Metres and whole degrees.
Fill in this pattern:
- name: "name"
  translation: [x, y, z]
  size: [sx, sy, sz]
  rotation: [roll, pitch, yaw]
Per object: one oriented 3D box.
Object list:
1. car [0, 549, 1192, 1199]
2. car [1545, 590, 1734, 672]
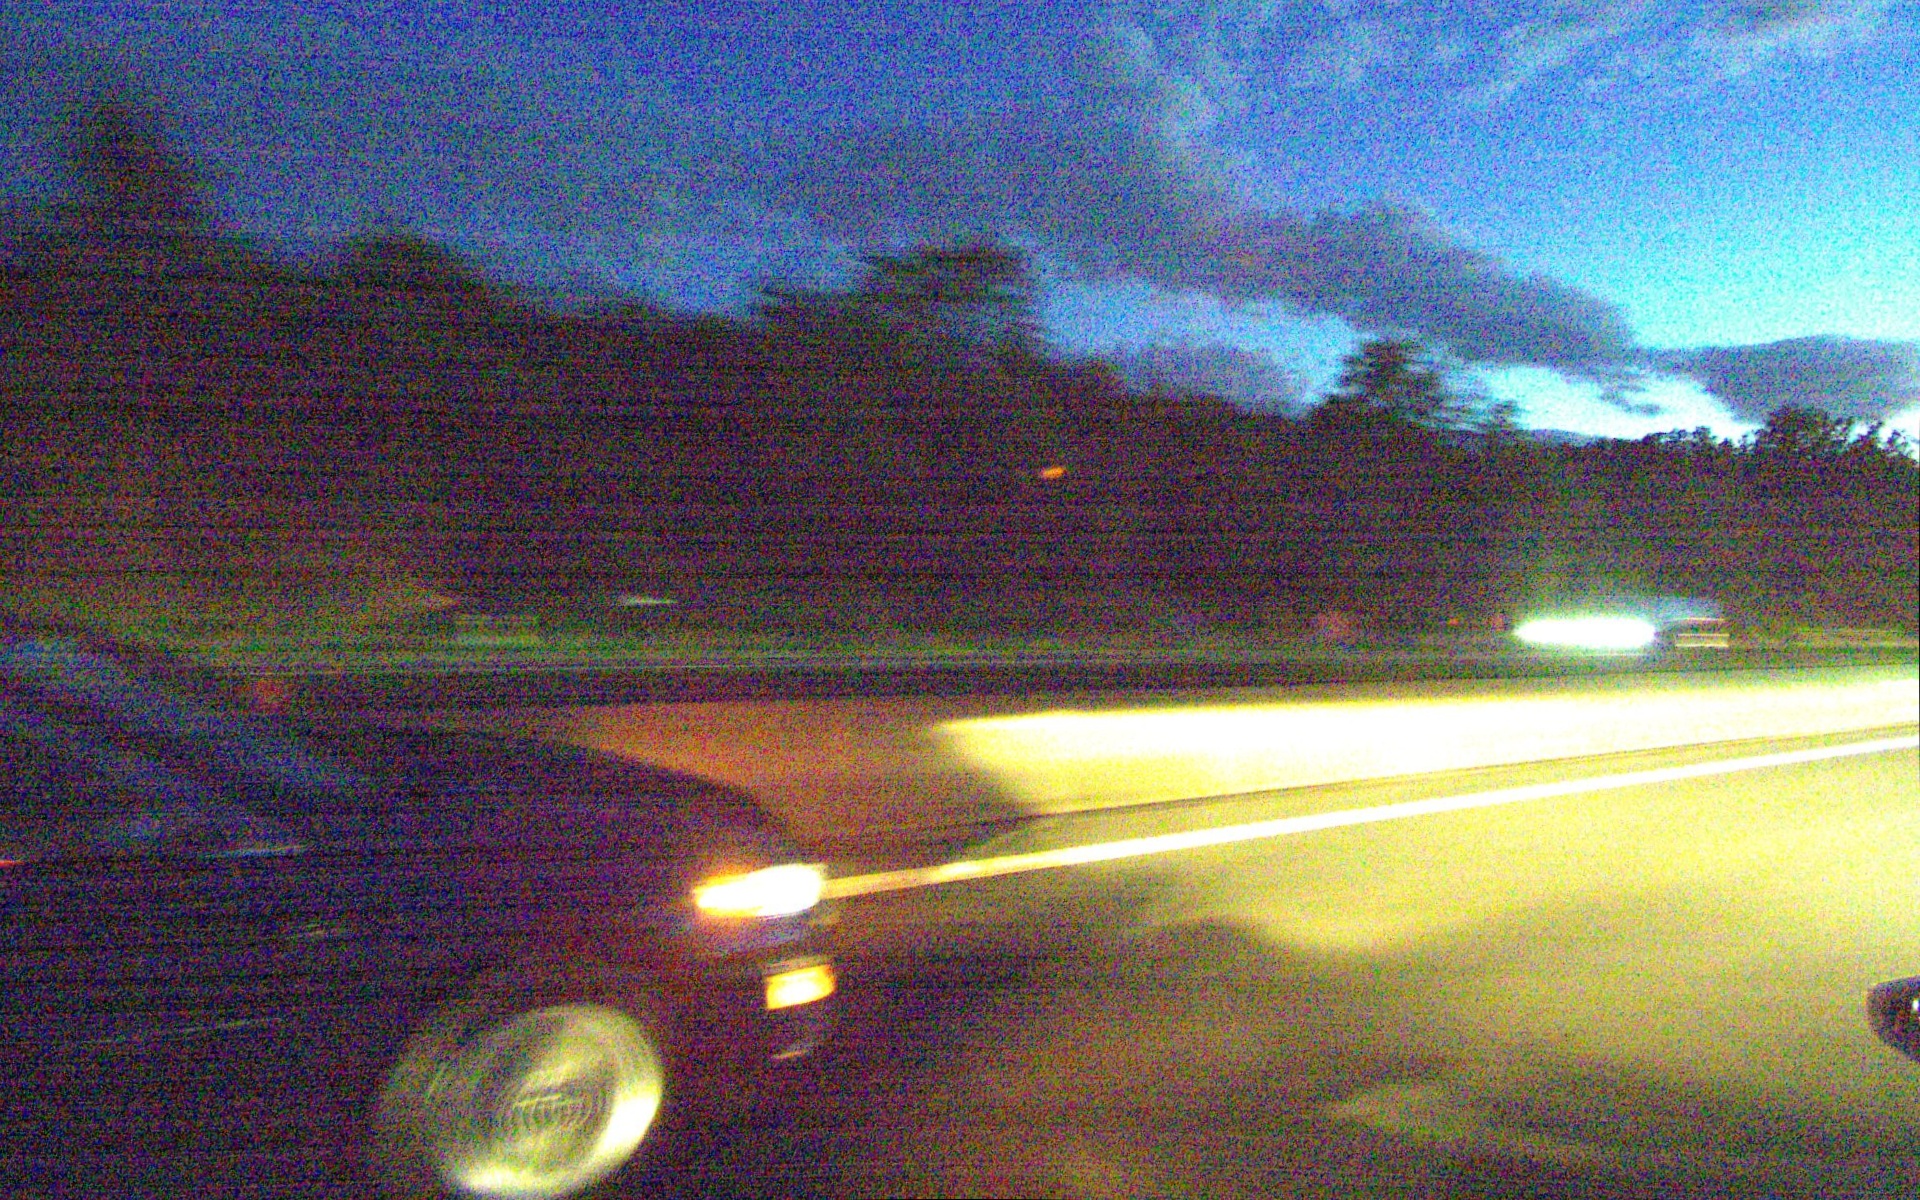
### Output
- name: "car"
  translation: [-2.236, 0.672, 2.530]
  size: [5.579, 1.539, 1.985]
  rotation: [0, 0, -28]
- name: "car"
  translation: [19.317, 0.870, 28.487]
  size: [5.648, 2.129, 2.233]
  rotation: [1, 0, -30]
